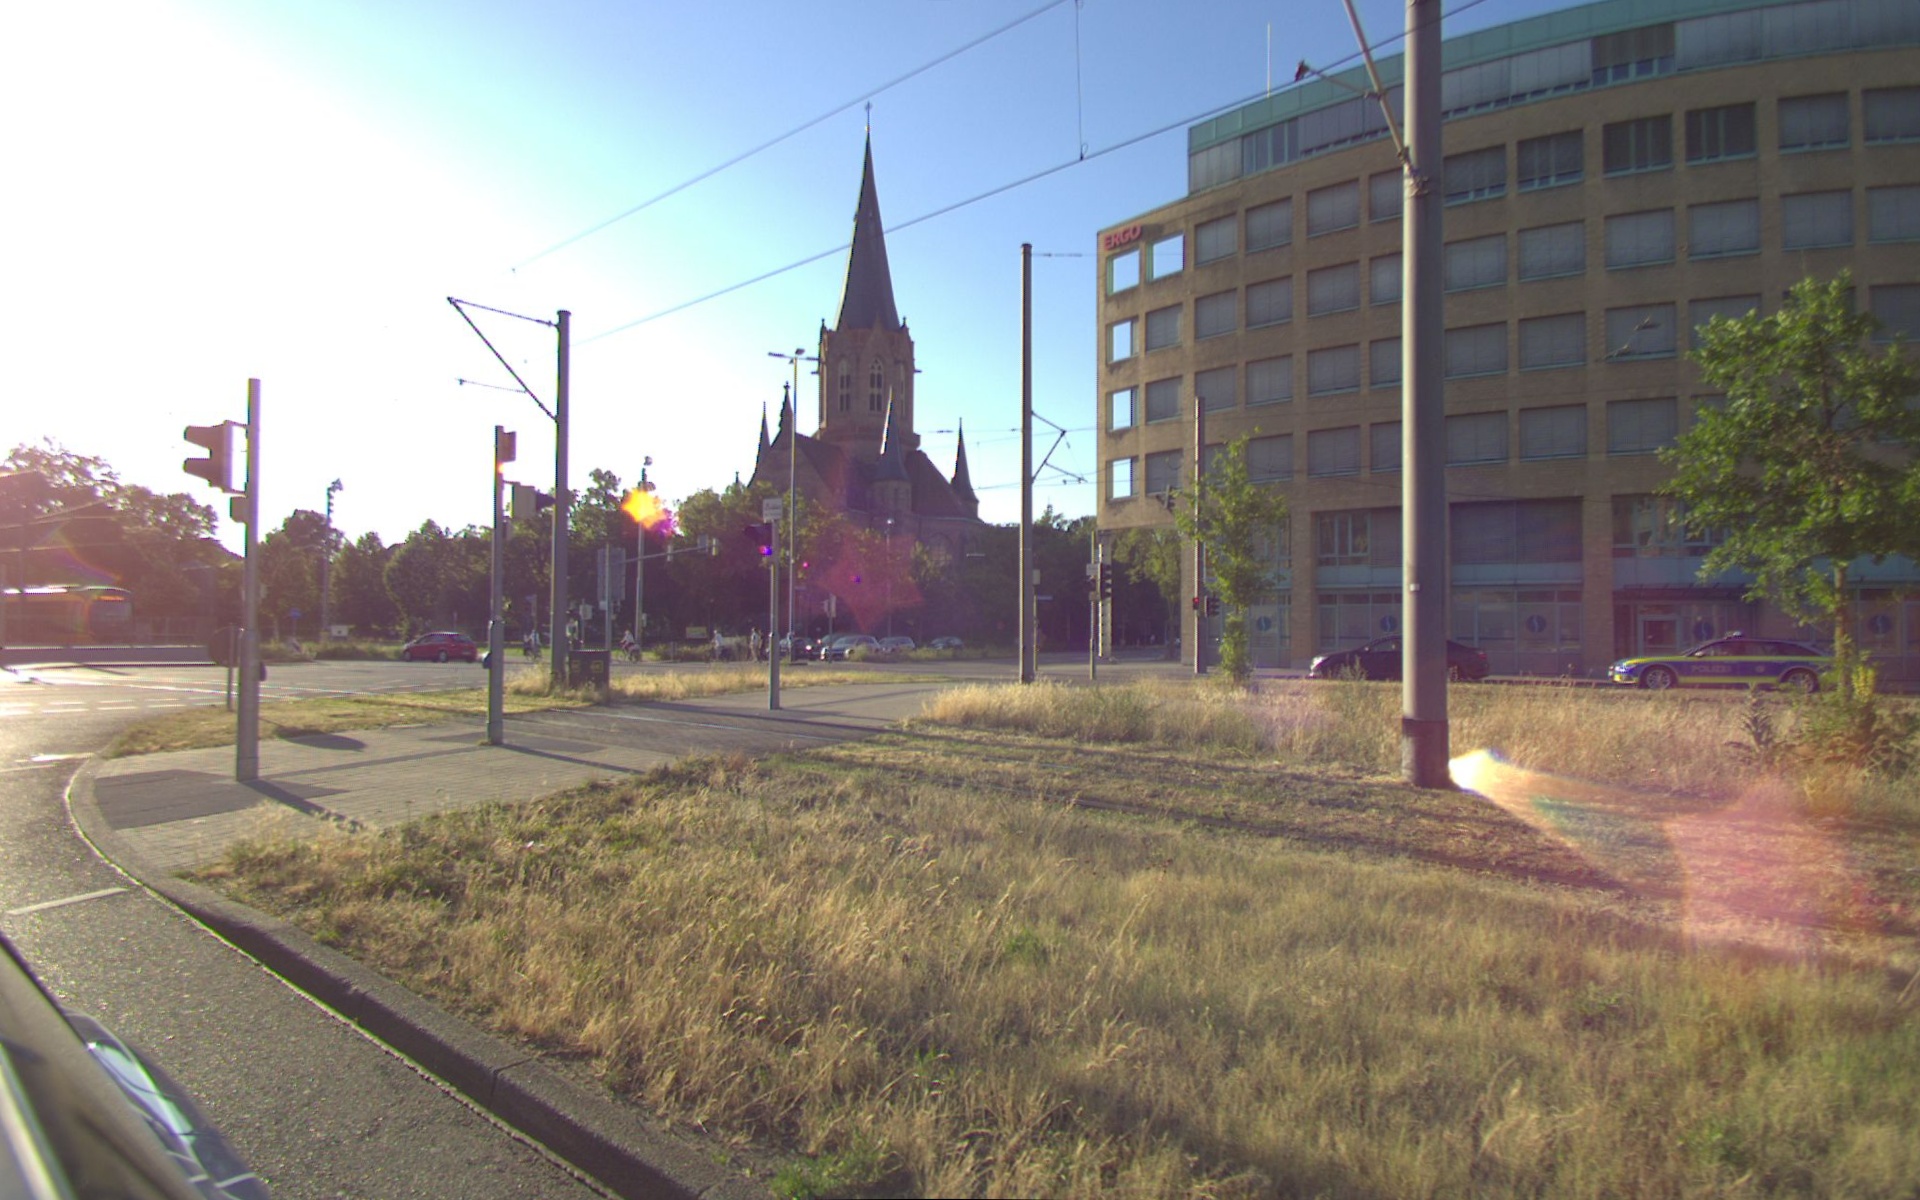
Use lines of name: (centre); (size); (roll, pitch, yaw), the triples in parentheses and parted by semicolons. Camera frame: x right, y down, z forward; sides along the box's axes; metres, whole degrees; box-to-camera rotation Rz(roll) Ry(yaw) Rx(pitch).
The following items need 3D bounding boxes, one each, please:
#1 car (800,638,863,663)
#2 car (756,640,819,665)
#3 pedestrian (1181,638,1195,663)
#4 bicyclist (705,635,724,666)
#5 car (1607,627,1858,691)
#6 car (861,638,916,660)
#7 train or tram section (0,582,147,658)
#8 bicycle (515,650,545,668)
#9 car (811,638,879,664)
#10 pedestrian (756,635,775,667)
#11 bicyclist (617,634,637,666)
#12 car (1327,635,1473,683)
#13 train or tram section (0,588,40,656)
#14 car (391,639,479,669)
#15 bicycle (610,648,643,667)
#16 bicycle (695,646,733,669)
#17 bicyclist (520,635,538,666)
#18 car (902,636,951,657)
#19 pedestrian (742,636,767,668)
car: (-7.679, 3.023, 60.717); (1.892, 1.431, 3.965); (-1, -2, 26)
car: (-10.535, 3.208, 62.086); (1.892, 1.431, 3.965); (-1, -2, 26)
pedestrian: (14.375, 3.153, 63.810); (0.579, 1.567, 0.737); (-2, -3, 32)
bicyclist: (-12.808, 2.639, 52.703); (0.813, 1.595, 0.519); (-1, -1, 13)
car: (19.452, 1.460, 25.793); (4.757, 1.492, 1.878); (-1, -2, 27)
car: (-4.667, 3.180, 66.234); (1.892, 1.431, 3.965); (-1, -2, 26)
train or tram section: (-45.664, 1.066, 51.232); (10.512, 3.563, 2.758); (-1, -2, 26)
bicycle: (-25.605, 3.523, 60.276); (1.919, 1.034, 0.521); (-1, -1, 26)
car: (-6.401, 2.840, 56.779); (1.894, 1.431, 3.960); (-1, -2, 29)
pedestrian: (-10.399, 2.729, 54.074); (0.714, 1.685, 0.731); (-1, -3, 29)
bicyclist: (-18.191, 2.742, 55.340); (0.890, 1.693, 0.570); (-1, -1, 25)
car: (12.670, 1.666, 29.229); (3.768, 1.292, 1.715); (-1, -2, 26)
train or tram section: (-56.322, 1.257, 56.358); (13.177, 3.563, 2.758); (-1, -2, 26)
car: (-25.670, 2.619, 49.530); (3.859, 1.425, 1.718); (-1, -2, 21)
bicycle: (-18.245, 3.147, 55.352); (1.920, 1.034, 0.455); (-1, -1, 27)
bicycle: (-12.800, 3.011, 52.703); (1.900, 1.155, 0.458); (-1, -1, 13)
bicyclist: (-25.684, 2.988, 60.333); (0.890, 1.841, 0.570); (-1, -1, 26)
car: (-2.329, 3.224, 71.269); (1.892, 1.431, 3.965); (-1, -2, 26)
pedestrian: (-10.863, 2.726, 53.437); (1.100, 1.685, 0.731); (-1, -3, 29)
